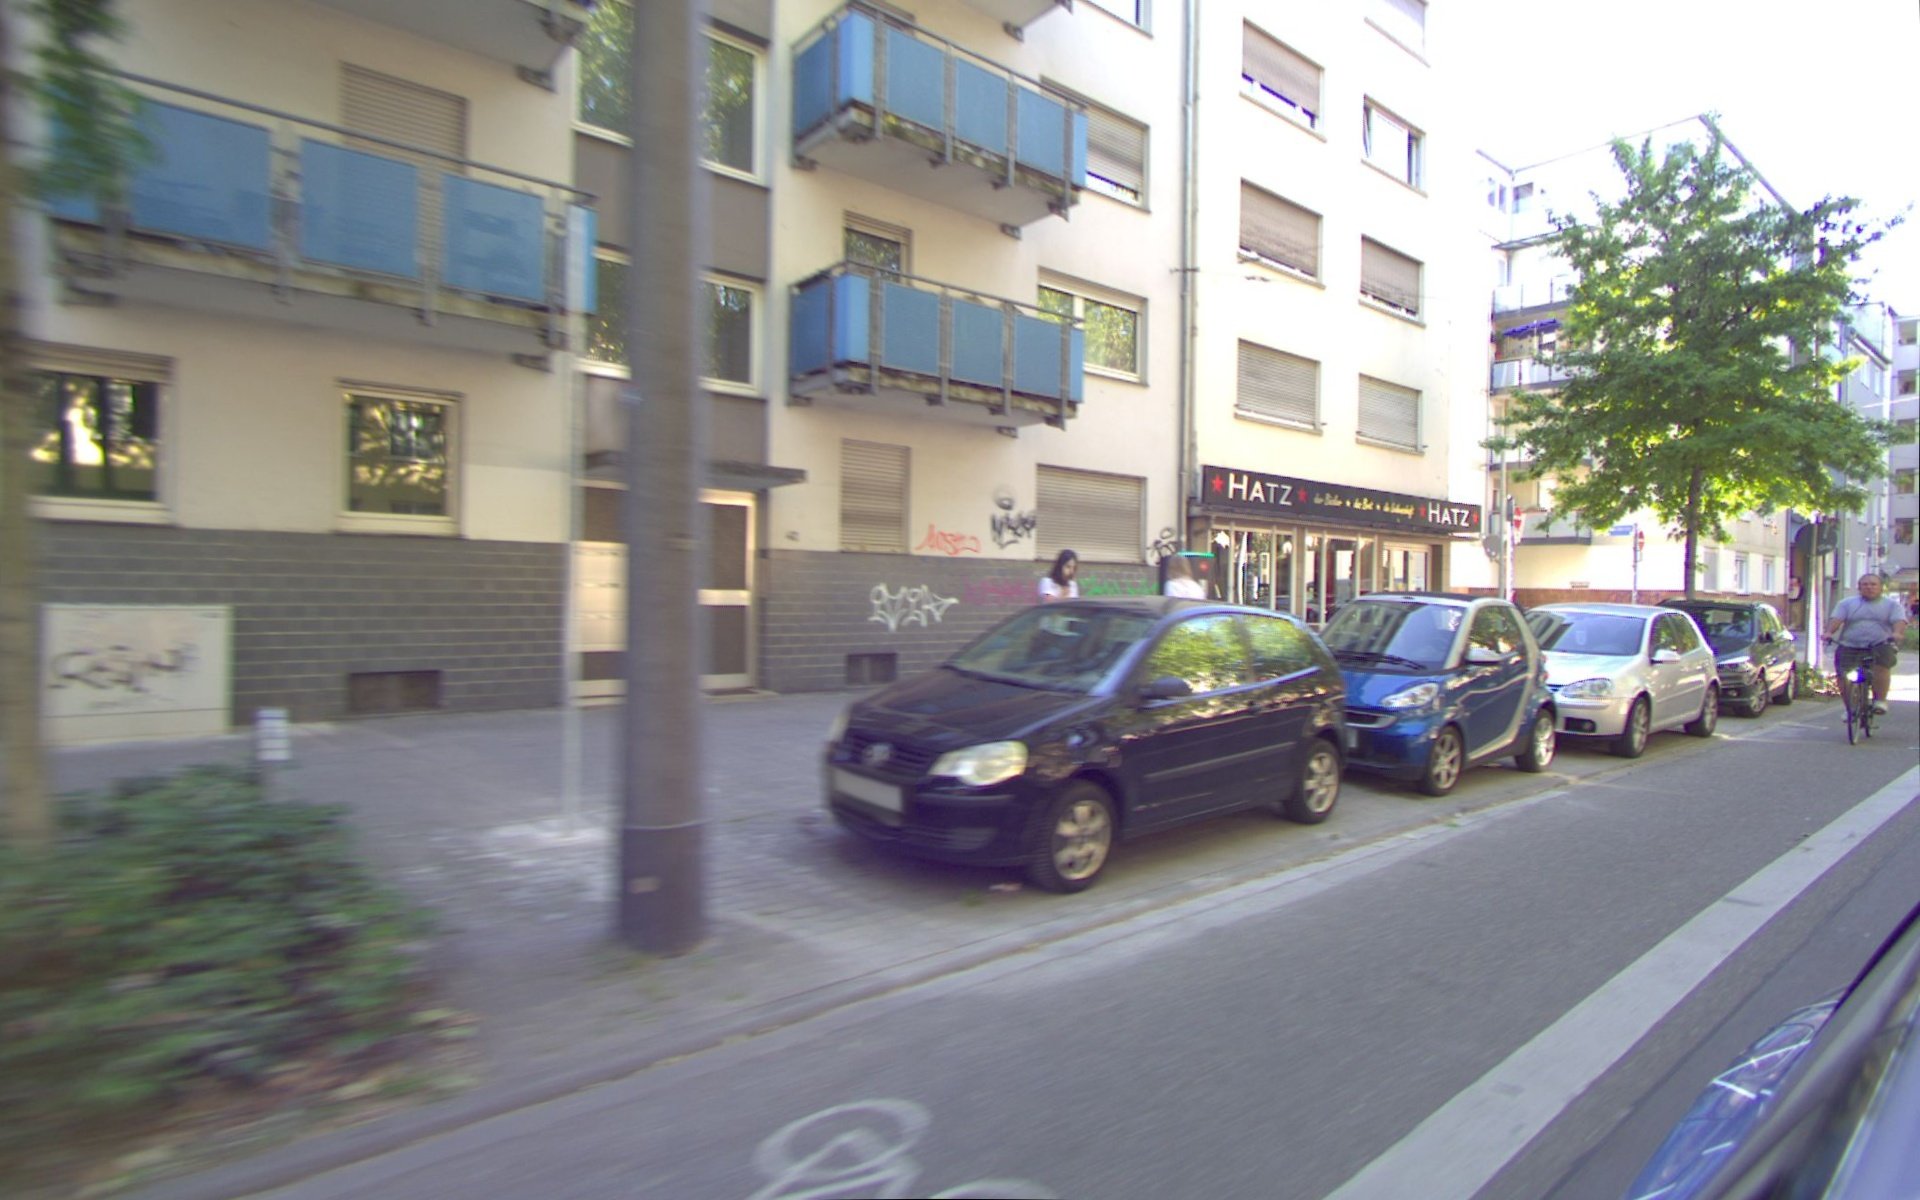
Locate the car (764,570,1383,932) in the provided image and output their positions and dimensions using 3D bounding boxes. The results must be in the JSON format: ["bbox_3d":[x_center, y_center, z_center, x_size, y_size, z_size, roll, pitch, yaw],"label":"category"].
[{"bbox_3d":[0.901,0.640,6.233,3.823,1.500,1.625,0,3,-42],"label":"car"}]

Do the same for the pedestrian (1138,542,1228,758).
[{"bbox_3d":[2.020,0.426,9.169,0.653,1.875,0.476,1,1,-43],"label":"pedestrian"}]

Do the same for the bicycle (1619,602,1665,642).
[{"bbox_3d":[20.986,0.656,31.127,1.960,1.166,0.616,0,1,-40],"label":"bicycle"}]

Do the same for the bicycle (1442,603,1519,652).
[{"bbox_3d":[13.745,0.713,26.776,0.471,1.222,2.078,0,0,-18],"label":"bicycle"}]

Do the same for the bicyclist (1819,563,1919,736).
[{"bbox_3d":[10.393,0.532,11.500,1.079,1.854,0.769,0,0,-39],"label":"bicyclist"}]

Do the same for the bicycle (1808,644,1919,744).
[{"bbox_3d":[10.336,1.017,11.456,1.904,0.949,0.790,0,0,-39],"label":"bicycle"}]

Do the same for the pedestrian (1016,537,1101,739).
[{"bbox_3d":[0.939,0.350,9.750,0.650,1.875,0.540,1,0,-15],"label":"pedestrian"}]

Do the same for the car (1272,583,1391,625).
[{"bbox_3d":[14.211,0.111,38.901,1.695,1.527,3.994,0,1,-41],"label":"car"}]

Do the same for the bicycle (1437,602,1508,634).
[{"bbox_3d":[17.541,0.601,34.691,0.595,1.004,2.112,0,2,-35],"label":"bicycle"}]

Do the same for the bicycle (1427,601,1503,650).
[{"bbox_3d":[13.259,0.639,26.623,0.471,1.222,2.078,0,0,-18],"label":"bicycle"}]

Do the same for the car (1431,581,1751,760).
[{"bbox_3d":[7.112,0.644,11.253,4.054,1.556,1.791,0,3,-40],"label":"car"}]

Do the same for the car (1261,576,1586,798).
[{"bbox_3d":[4.082,0.627,8.798,2.830,1.556,1.448,1,2,-40],"label":"car"}]

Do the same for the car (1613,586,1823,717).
[{"bbox_3d":[11.316,0.642,15.009,4.188,1.590,1.722,0,4,-43],"label":"car"}]
